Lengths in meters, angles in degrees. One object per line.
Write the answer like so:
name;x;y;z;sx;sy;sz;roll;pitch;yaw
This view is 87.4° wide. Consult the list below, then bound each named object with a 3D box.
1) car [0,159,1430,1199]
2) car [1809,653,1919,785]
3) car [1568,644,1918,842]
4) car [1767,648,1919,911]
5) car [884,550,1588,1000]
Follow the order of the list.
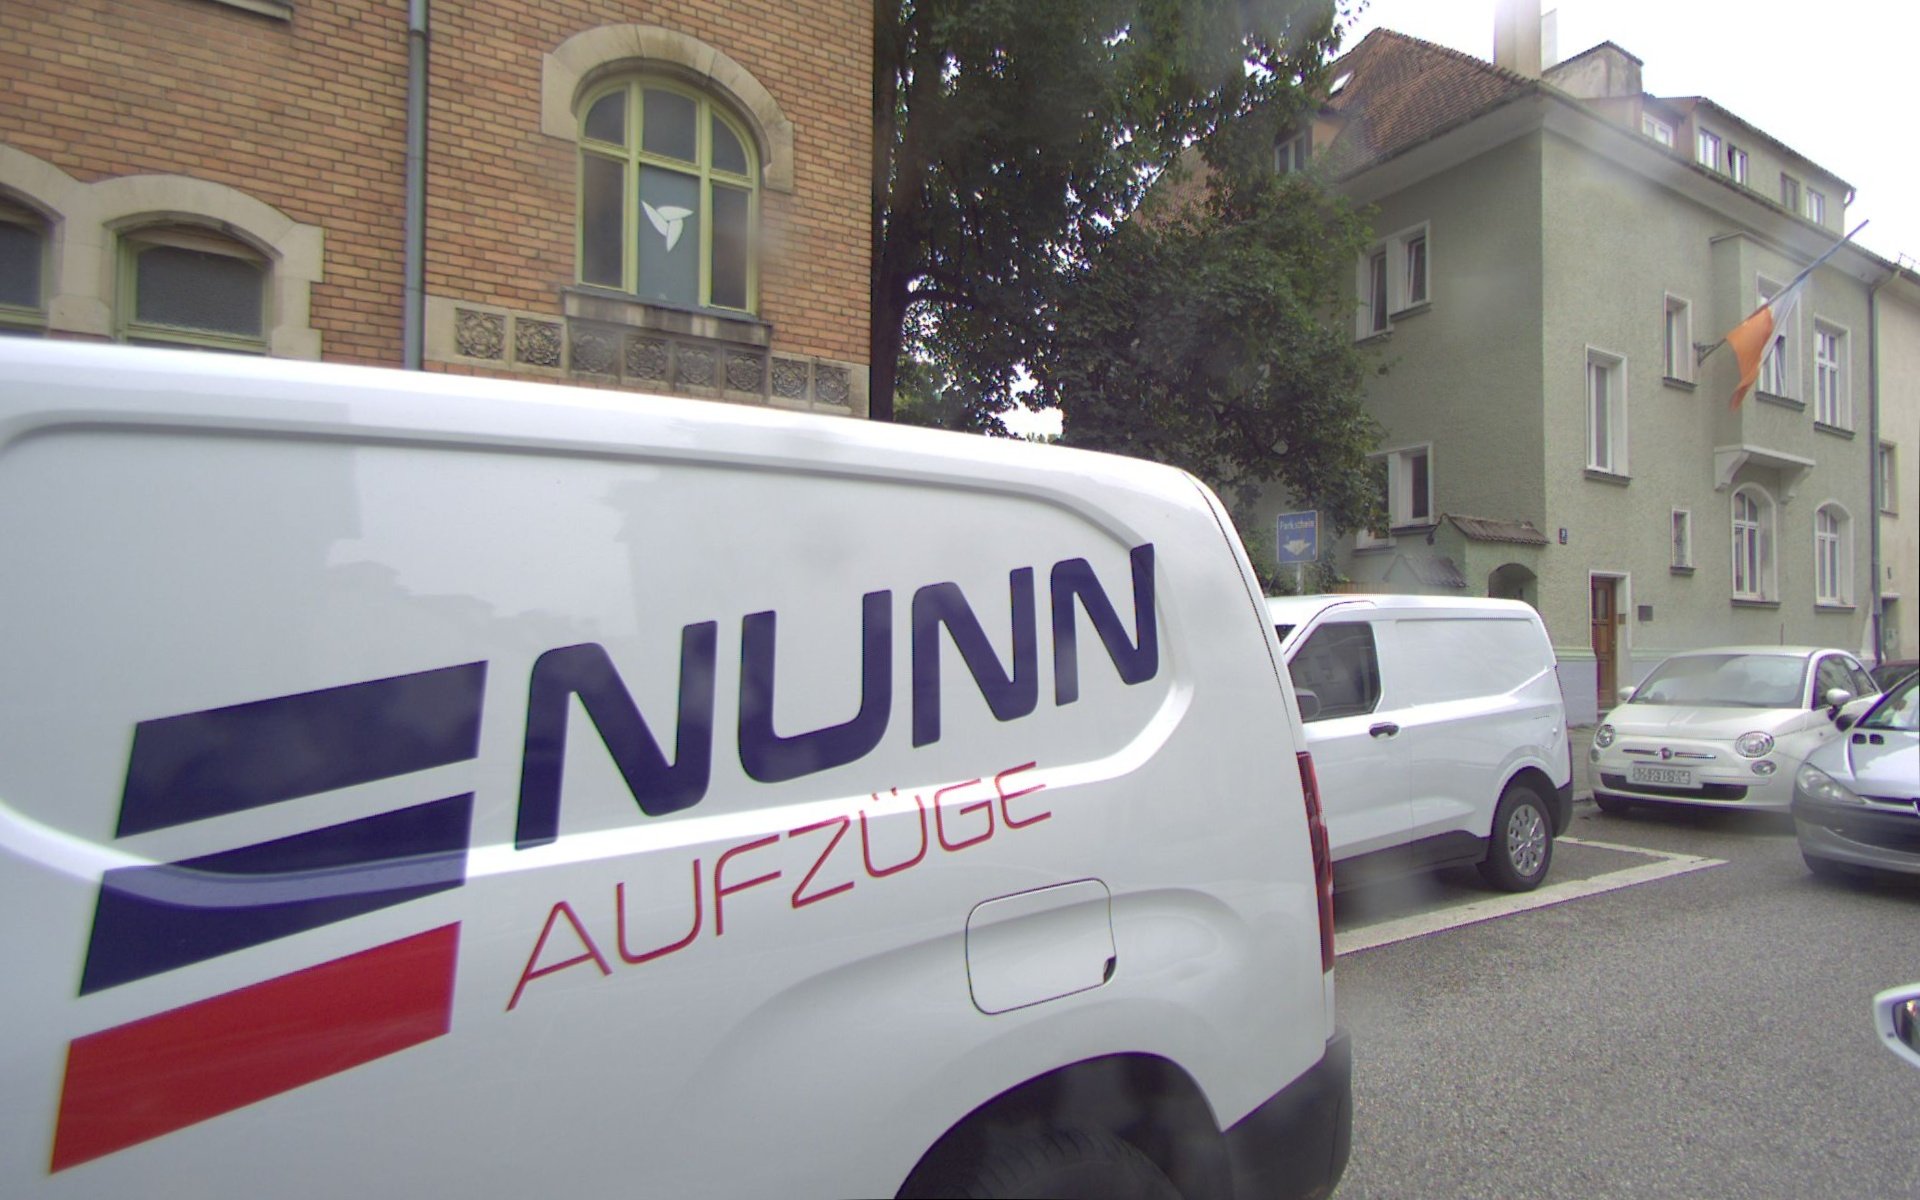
car;-1.572;0.563;1.462;4.516;1.827;1.765;1;-4;-29
car;12.217;1.368;12.086;4.287;1.430;1.851;2;-5;-33
car;7.114;1.153;9.073;3.277;1.485;1.465;2;-4;-33
car;6.847;1.041;6.337;3.571;1.429;1.574;2;-3;-31
car;1.753;0.799;5.932;4.100;1.827;1.681;1;-4;-32
